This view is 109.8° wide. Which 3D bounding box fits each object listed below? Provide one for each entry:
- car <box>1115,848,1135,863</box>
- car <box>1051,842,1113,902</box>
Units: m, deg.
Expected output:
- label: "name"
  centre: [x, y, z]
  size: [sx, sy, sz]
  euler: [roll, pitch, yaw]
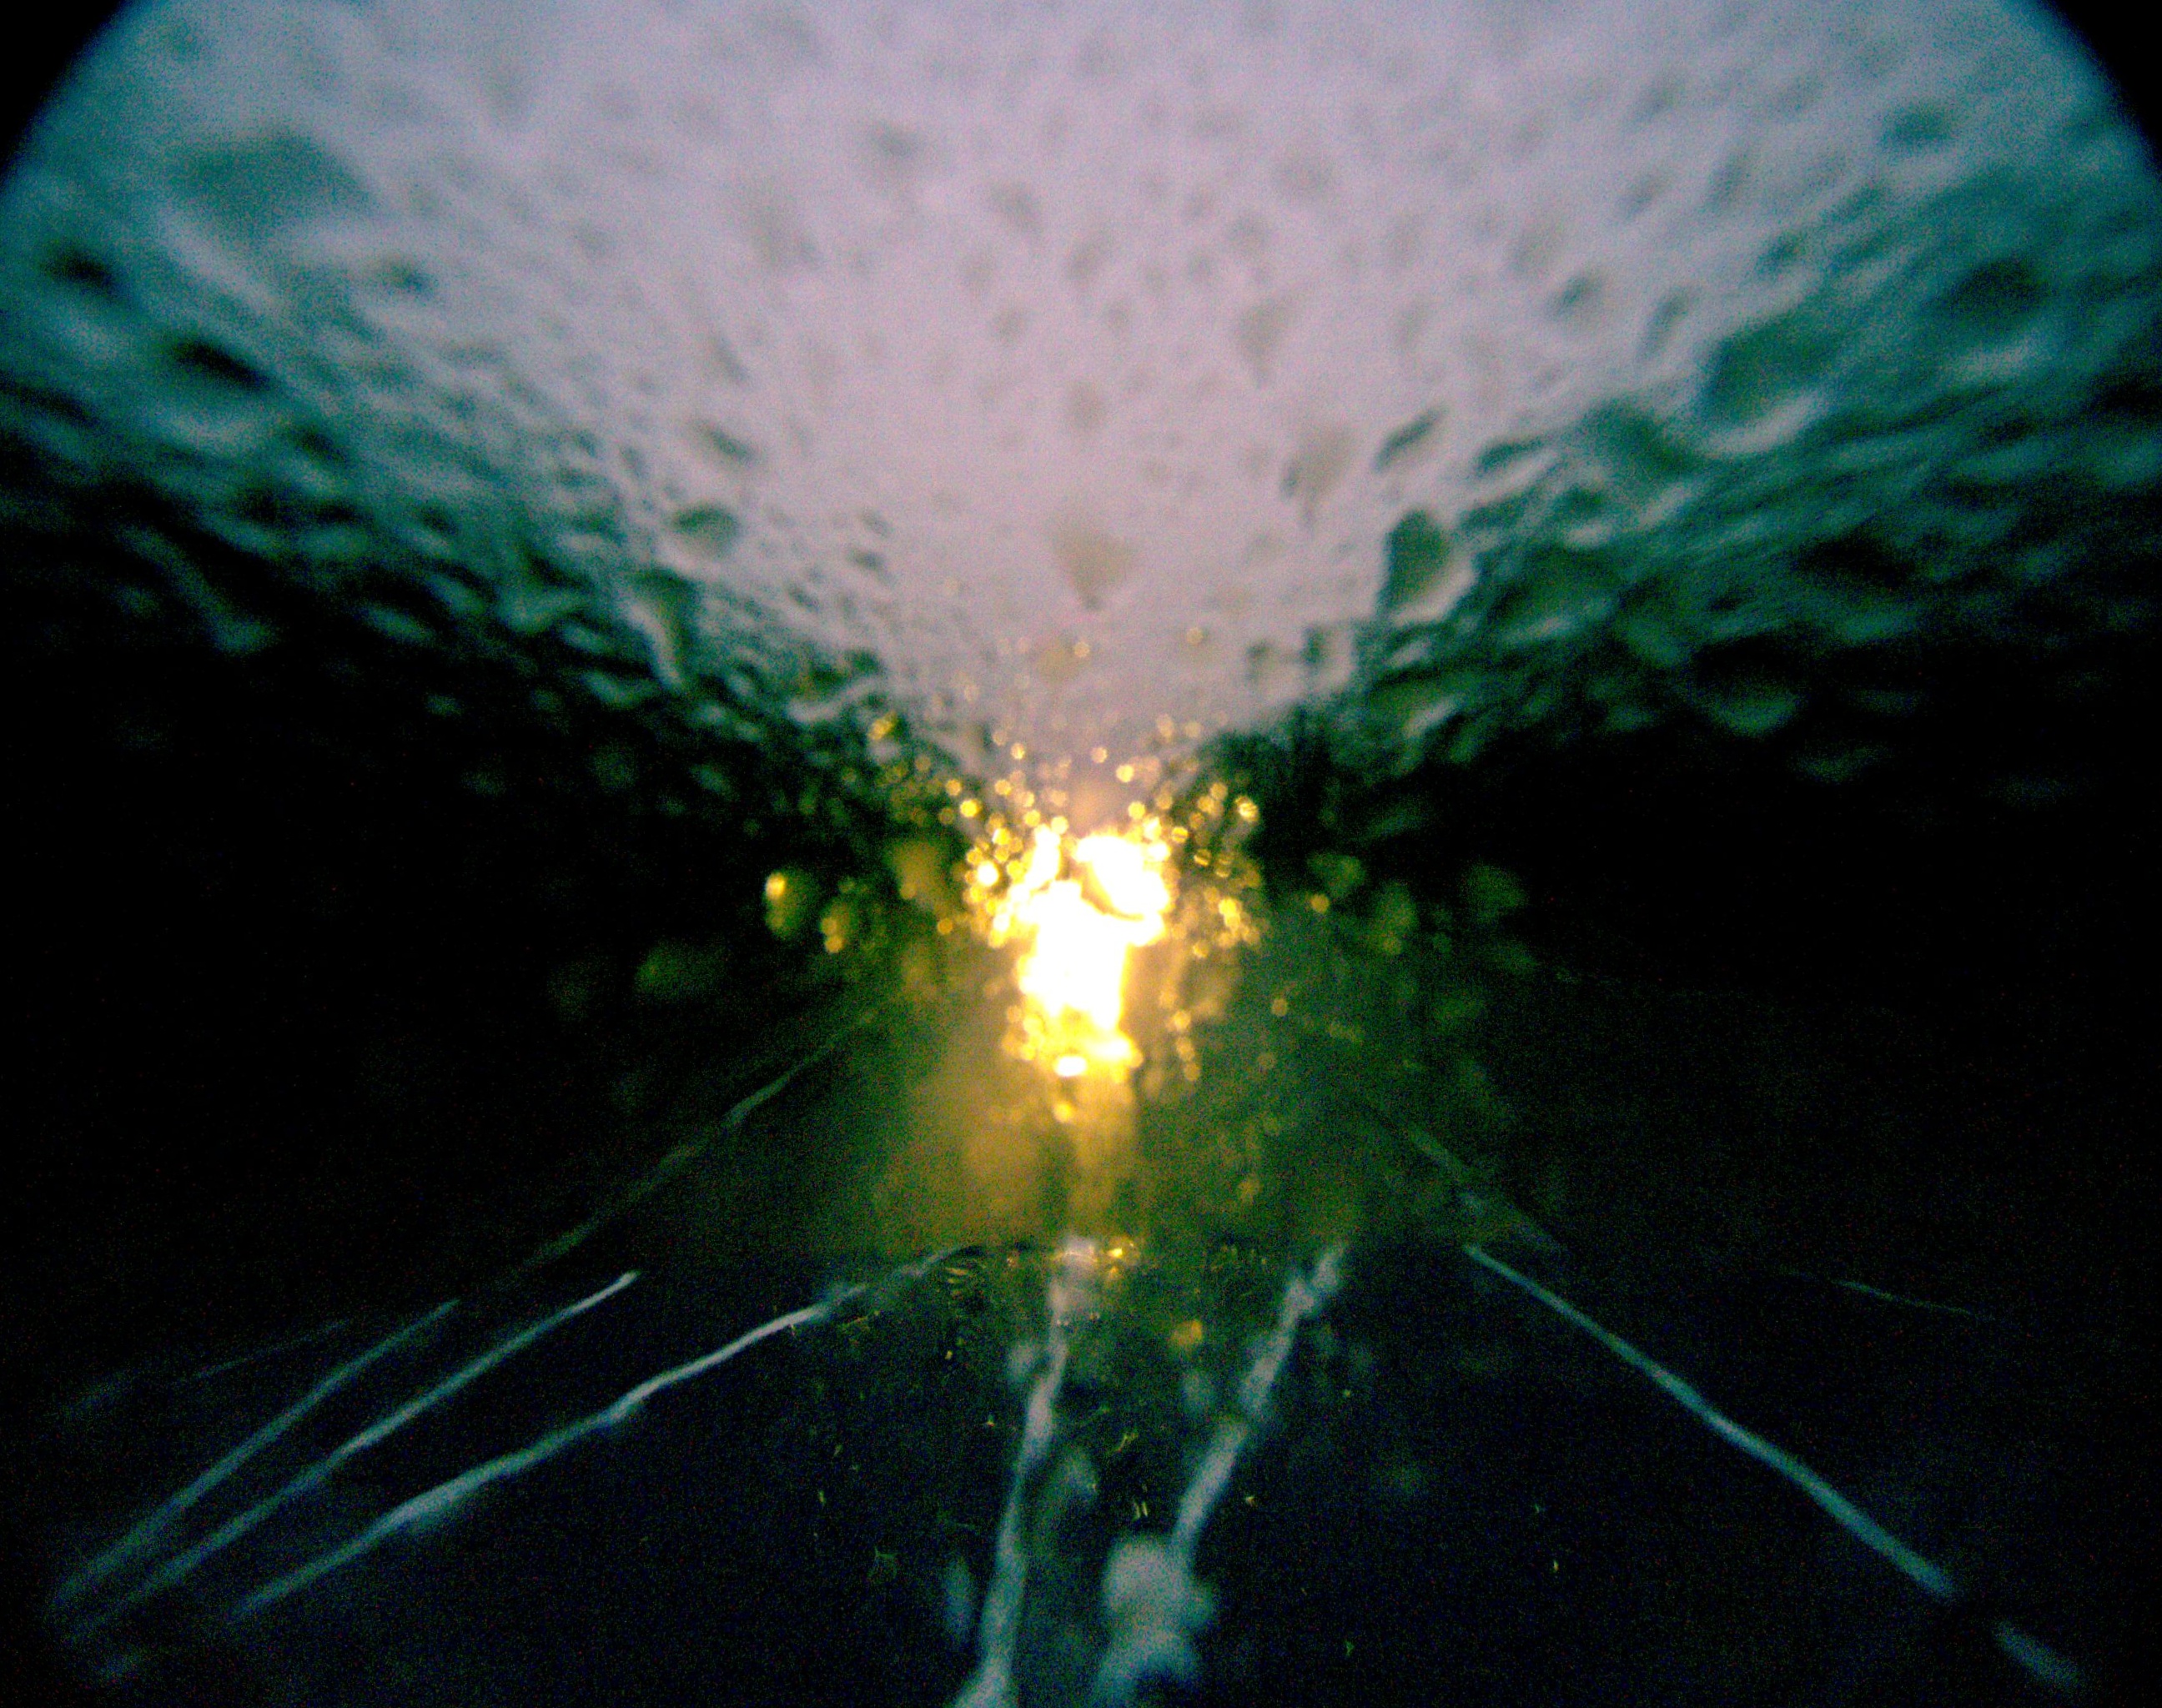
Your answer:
- label: "car"
  centre: [4.816, 0.186, 83.924]
  size: [1.877, 1.597, 4.195]
  euler: [-2, 0, 0]
- label: "car"
  centre: [0.110, 0.489, 23.870]
  size: [1.572, 1.701, 4.001]
  euler: [-2, 1, 5]
